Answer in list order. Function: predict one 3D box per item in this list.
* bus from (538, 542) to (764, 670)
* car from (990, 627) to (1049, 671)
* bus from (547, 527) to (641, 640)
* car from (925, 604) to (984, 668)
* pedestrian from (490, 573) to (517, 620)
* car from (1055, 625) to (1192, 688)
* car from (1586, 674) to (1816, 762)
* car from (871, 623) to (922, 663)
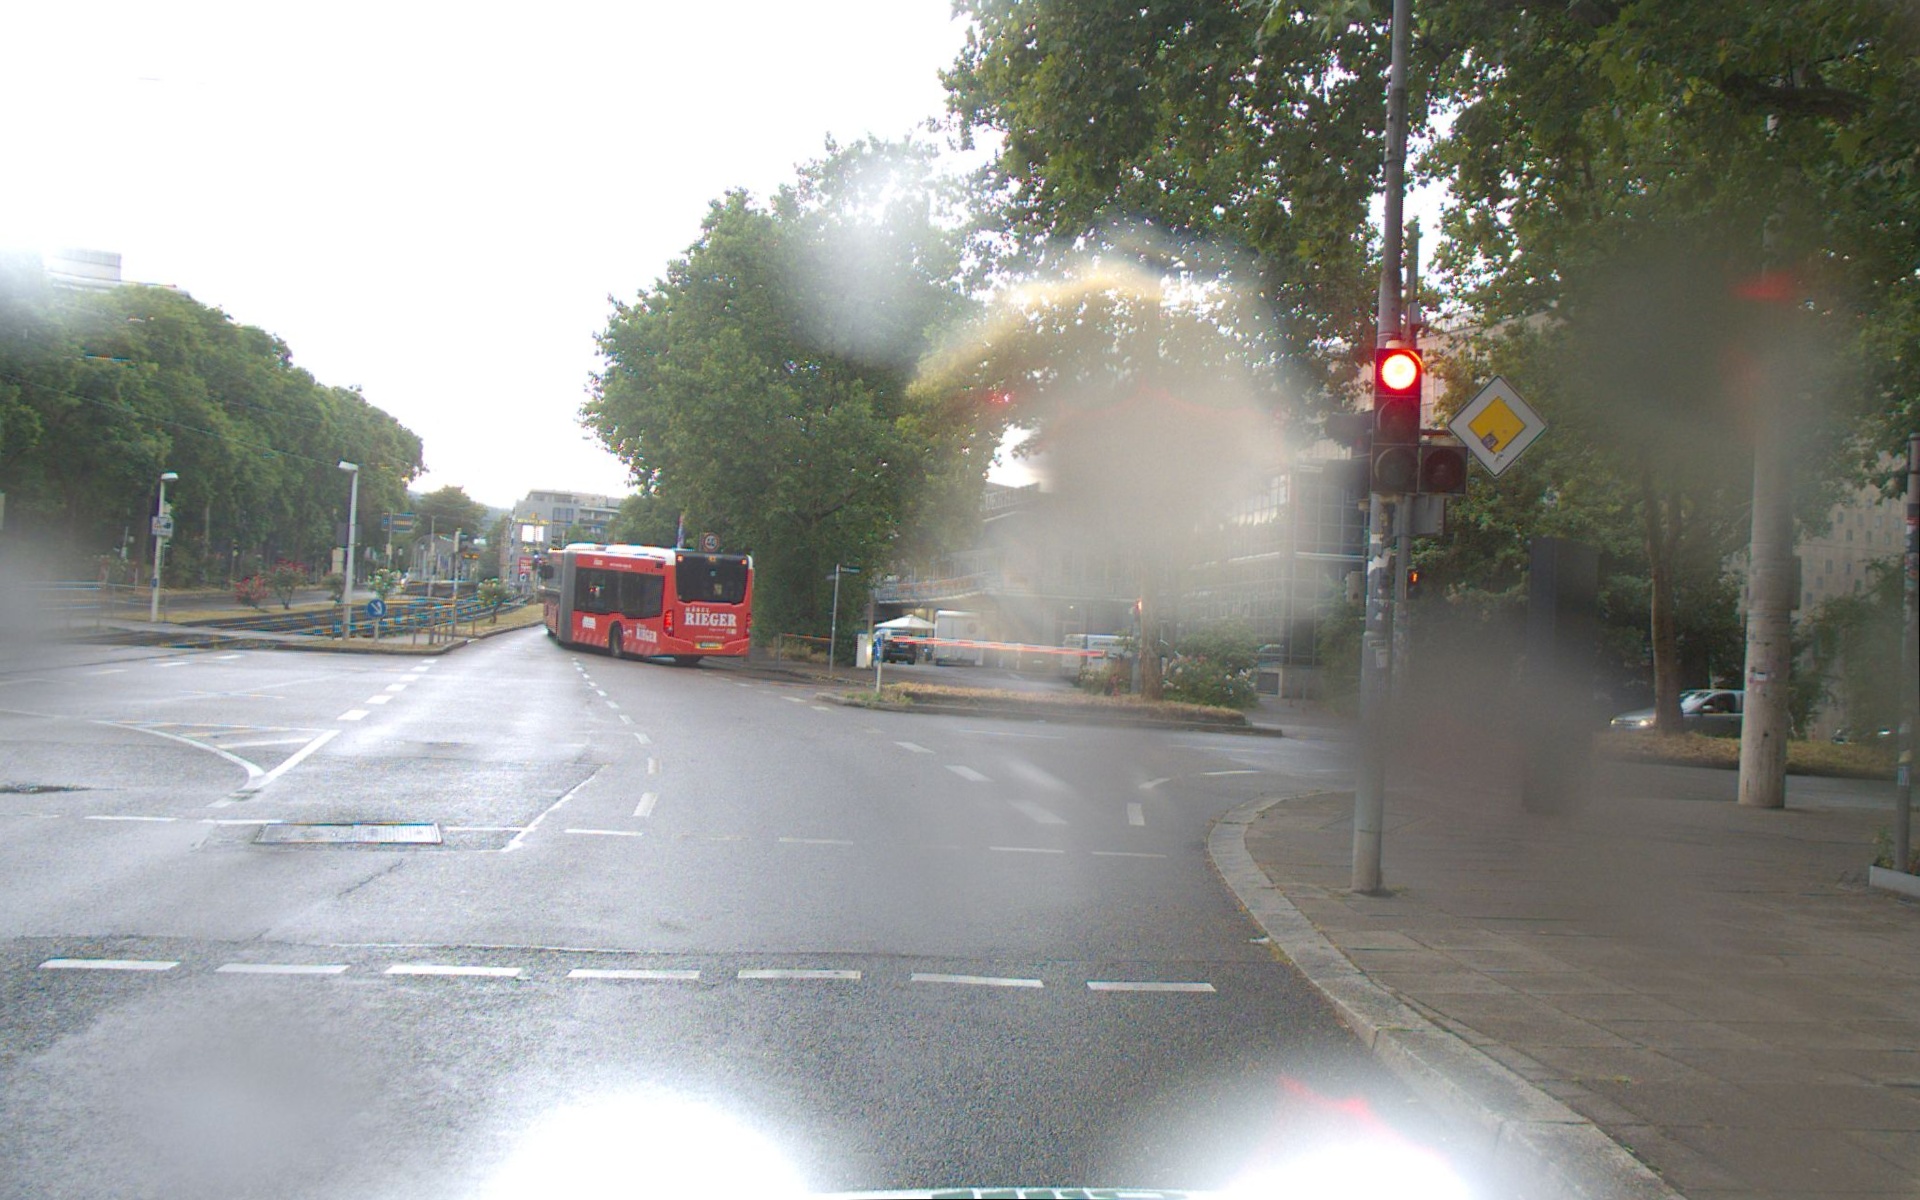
[{"bbox_3d":[-8.985,0.073,47.021,2.633,3.165,9.072,5,-2,-35],"label":"bus"},{"bbox_3d":[3.004,2.491,84.531,1.959,2.049,3.987,5,-1,-13],"label":"car"},{"bbox_3d":[-11.897,-0.451,53.849,2.506,3.165,9.424,4,-1,-13],"label":"bus"},{"bbox_3d":[-0.343,1.955,90.418,2.496,3.188,5.024,4,-1,-6],"label":"car"},{"bbox_3d":[-17.071,-0.128,61.863,0.724,1.668,0.869,4,-2,-6],"label":"pedestrian"},{"bbox_3d":[6.164,2.132,62.206,4.682,1.977,1.986,5,-2,-23],"label":"car"},{"bbox_3d":[15.558,2.470,34.853,3.912,1.467,1.997,5,-1,-7],"label":"car"},{"bbox_3d":[-3.423,2.251,87.850,1.959,1.892,3.988,5,-1,-12],"label":"car"}]
